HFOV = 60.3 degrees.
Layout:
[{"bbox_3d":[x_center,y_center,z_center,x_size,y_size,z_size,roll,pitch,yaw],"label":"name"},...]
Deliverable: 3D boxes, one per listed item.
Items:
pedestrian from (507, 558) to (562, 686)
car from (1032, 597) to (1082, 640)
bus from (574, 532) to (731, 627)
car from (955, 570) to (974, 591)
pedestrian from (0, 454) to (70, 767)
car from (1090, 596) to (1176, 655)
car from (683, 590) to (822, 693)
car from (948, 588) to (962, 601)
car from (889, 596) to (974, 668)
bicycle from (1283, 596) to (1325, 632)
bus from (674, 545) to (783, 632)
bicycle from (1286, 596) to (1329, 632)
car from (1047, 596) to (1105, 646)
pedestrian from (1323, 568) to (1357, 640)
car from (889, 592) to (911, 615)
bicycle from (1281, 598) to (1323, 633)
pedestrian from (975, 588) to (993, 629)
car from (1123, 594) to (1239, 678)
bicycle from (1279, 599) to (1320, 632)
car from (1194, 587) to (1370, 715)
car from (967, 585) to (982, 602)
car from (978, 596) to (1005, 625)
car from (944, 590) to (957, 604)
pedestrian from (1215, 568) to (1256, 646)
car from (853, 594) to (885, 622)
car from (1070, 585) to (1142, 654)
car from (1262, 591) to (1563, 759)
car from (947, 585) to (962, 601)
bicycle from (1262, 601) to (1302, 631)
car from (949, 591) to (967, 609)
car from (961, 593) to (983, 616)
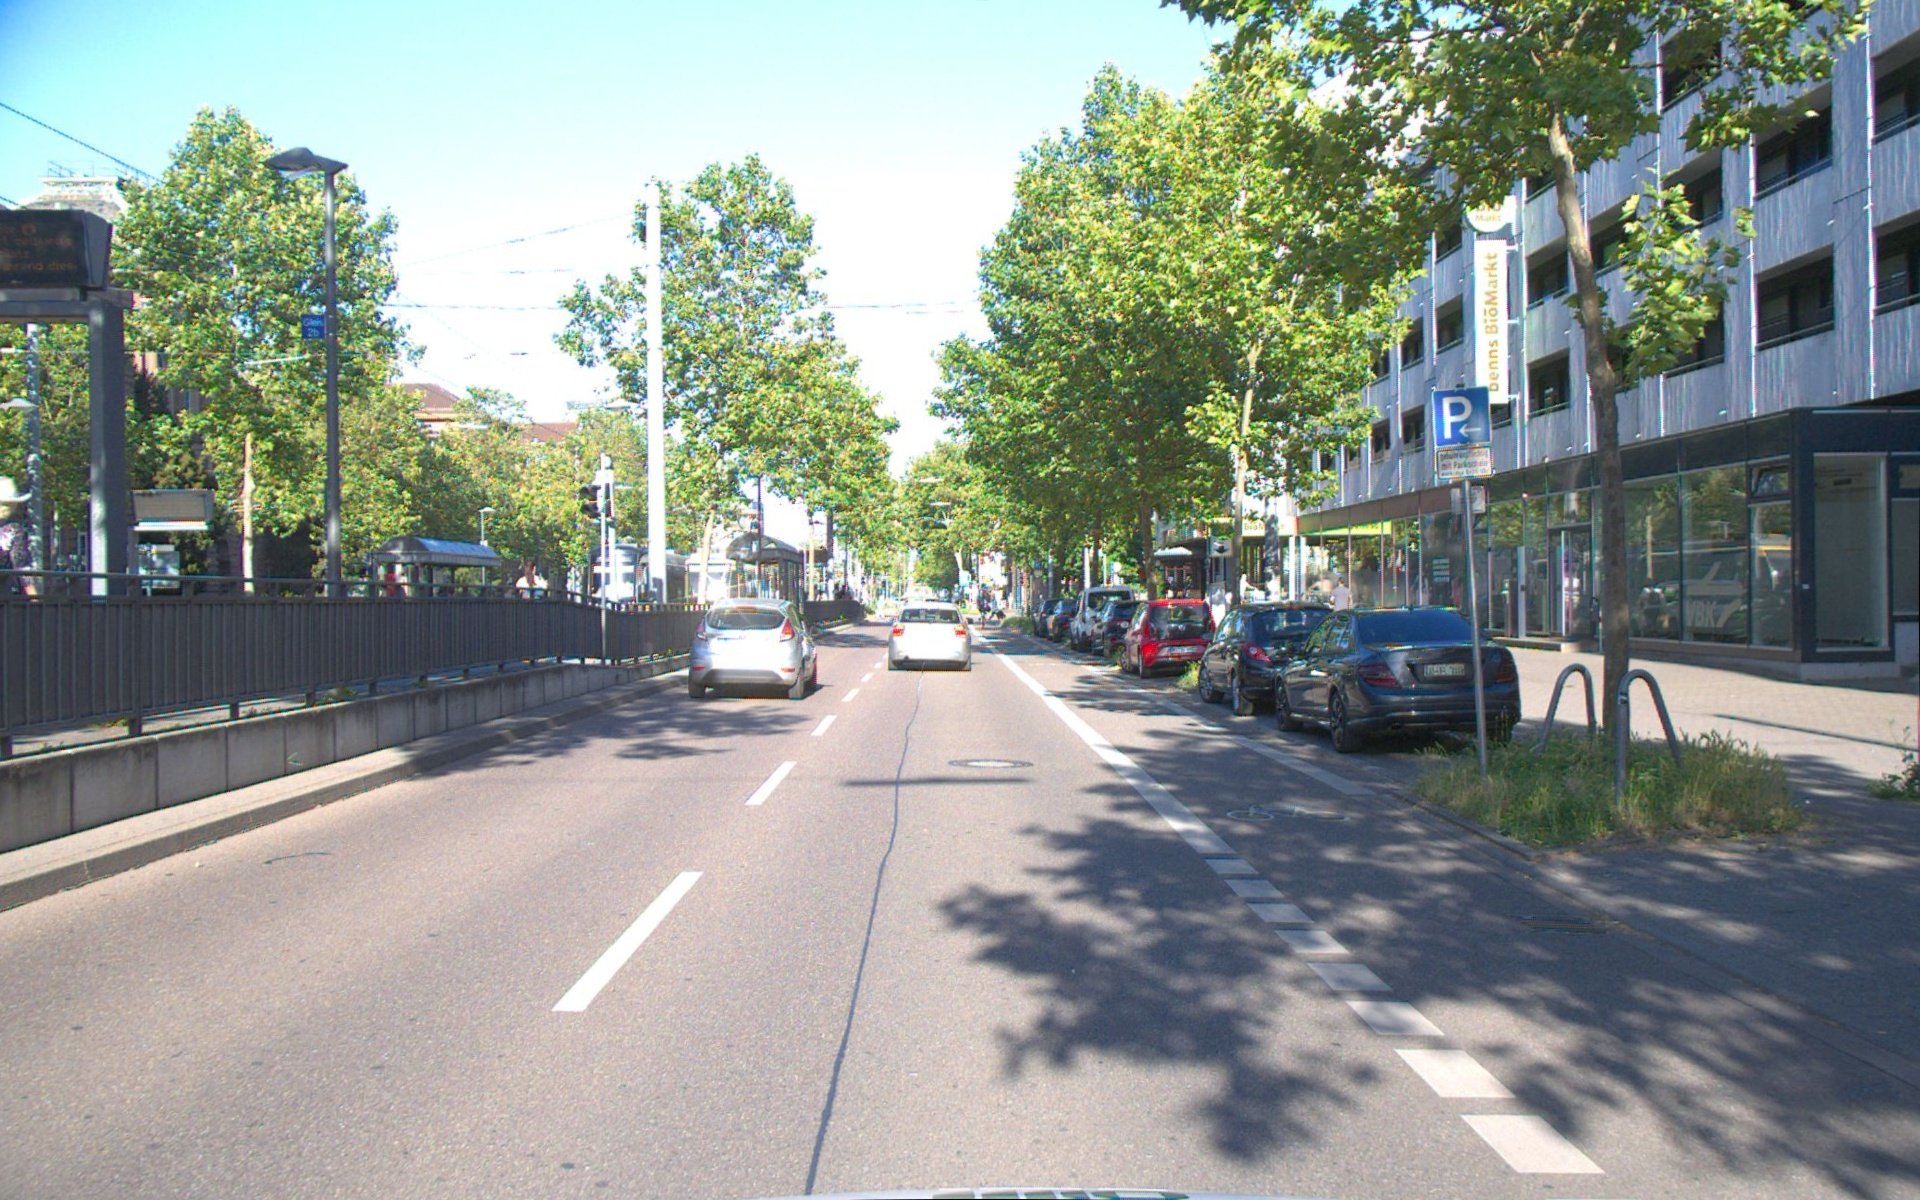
[{"bbox_3d":[-6.737,0.342,26.196,0.626,1.988,0.813,1,0,-1],"label":"pedestrian"},{"bbox_3d":[3.784,0.713,64.930,1.666,1.561,3.716,1,1,0],"label":"car"},{"bbox_3d":[-13.668,-0.910,76.730,2.810,3.692,24.601,0,1,0],"label":"bus"},{"bbox_3d":[0.485,-2.113,182.227,1.953,2.049,3.999,-3,-1,-1],"label":"car"},{"bbox_3d":[-6.407,0.055,10.880,0.626,1.988,0.813,1,0,-1],"label":"pedestrian"},{"bbox_3d":[4.403,0.633,42.648,1.744,1.405,3.999,1,0,0],"label":"car"},{"bbox_3d":[-3.078,0.566,25.151,1.613,1.386,3.760,1,1,0],"label":"car"},{"bbox_3d":[-0.651,-0.750,231.247,1.953,1.728,4.000,0,0,0],"label":"car"},{"bbox_3d":[-0.631,0.651,35.876,1.726,1.457,3.999,1,0,-1],"label":"car"},{"bbox_3d":[11.715,0.478,56.267,1.355,1.168,0.243,1,0,-2],"label":"bicycle"},{"bbox_3d":[-10.792,-0.572,79.288,2.694,3.689,18.846,0,1,0],"label":"bus"},{"bbox_3d":[11.742,0.483,55.899,1.355,1.168,0.243,1,0,-2],"label":"bicycle"},{"bbox_3d":[4.012,0.702,57.705,1.676,1.590,4.000,1,1,0],"label":"car"},{"bbox_3d":[11.077,0.115,48.197,0.772,2.049,0.890,0,0,0],"label":"pedestrian"},{"bbox_3d":[-5.726,0.327,157.810,1.953,2.049,4.000,1,1,0],"label":"car"},{"bbox_3d":[11.698,0.522,56.610,1.355,1.168,0.243,1,0,-2],"label":"bicycle"},{"bbox_3d":[1.221,0.431,83.897,0.820,2.049,0.649,1,0,6],"label":"pedestrian"},{"bbox_3d":[4.374,0.682,33.260,1.769,1.547,3.999,1,0,0],"label":"car"},{"bbox_3d":[11.670,0.530,56.894,1.355,1.074,0.243,1,0,-2],"label":"bicycle"},{"bbox_3d":[4.412,0.644,23.203,1.635,1.578,4.000,1,1,0],"label":"car"},{"bbox_3d":[1.805,-0.849,205.263,1.837,2.049,3.711,1,1,0],"label":"car"},{"bbox_3d":[2.152,0.705,113.910,1.772,1.822,3.911,1,1,0],"label":"car"},{"bbox_3d":[-1.439,-0.495,246.358,1.953,2.049,4.000,1,1,0],"label":"car"},{"bbox_3d":[7.318,0.186,43.974,0.944,2.049,0.938,0,0,-1],"label":"pedestrian"},{"bbox_3d":[-6.368,0.515,115.929,1.953,1.848,4.000,1,1,0],"label":"car"},{"bbox_3d":[4.251,0.542,48.628,1.689,1.913,4.000,1,0,0],"label":"car"},{"bbox_3d":[4.681,0.728,17.864,1.953,1.535,4.597,1,0,0],"label":"car"},{"bbox_3d":[-0.709,-0.897,210.656,1.953,2.049,4.000,1,1,0],"label":"car"},{"bbox_3d":[11.551,0.575,59.338,1.355,1.030,0.243,1,0,-2],"label":"bicycle"},{"bbox_3d":[-0.243,0.026,194.438,2.029,2.049,4.000,0,0,0],"label":"car"},{"bbox_3d":[1.108,0.398,155.677,1.953,2.049,4.000,1,1,0],"label":"car"}]
